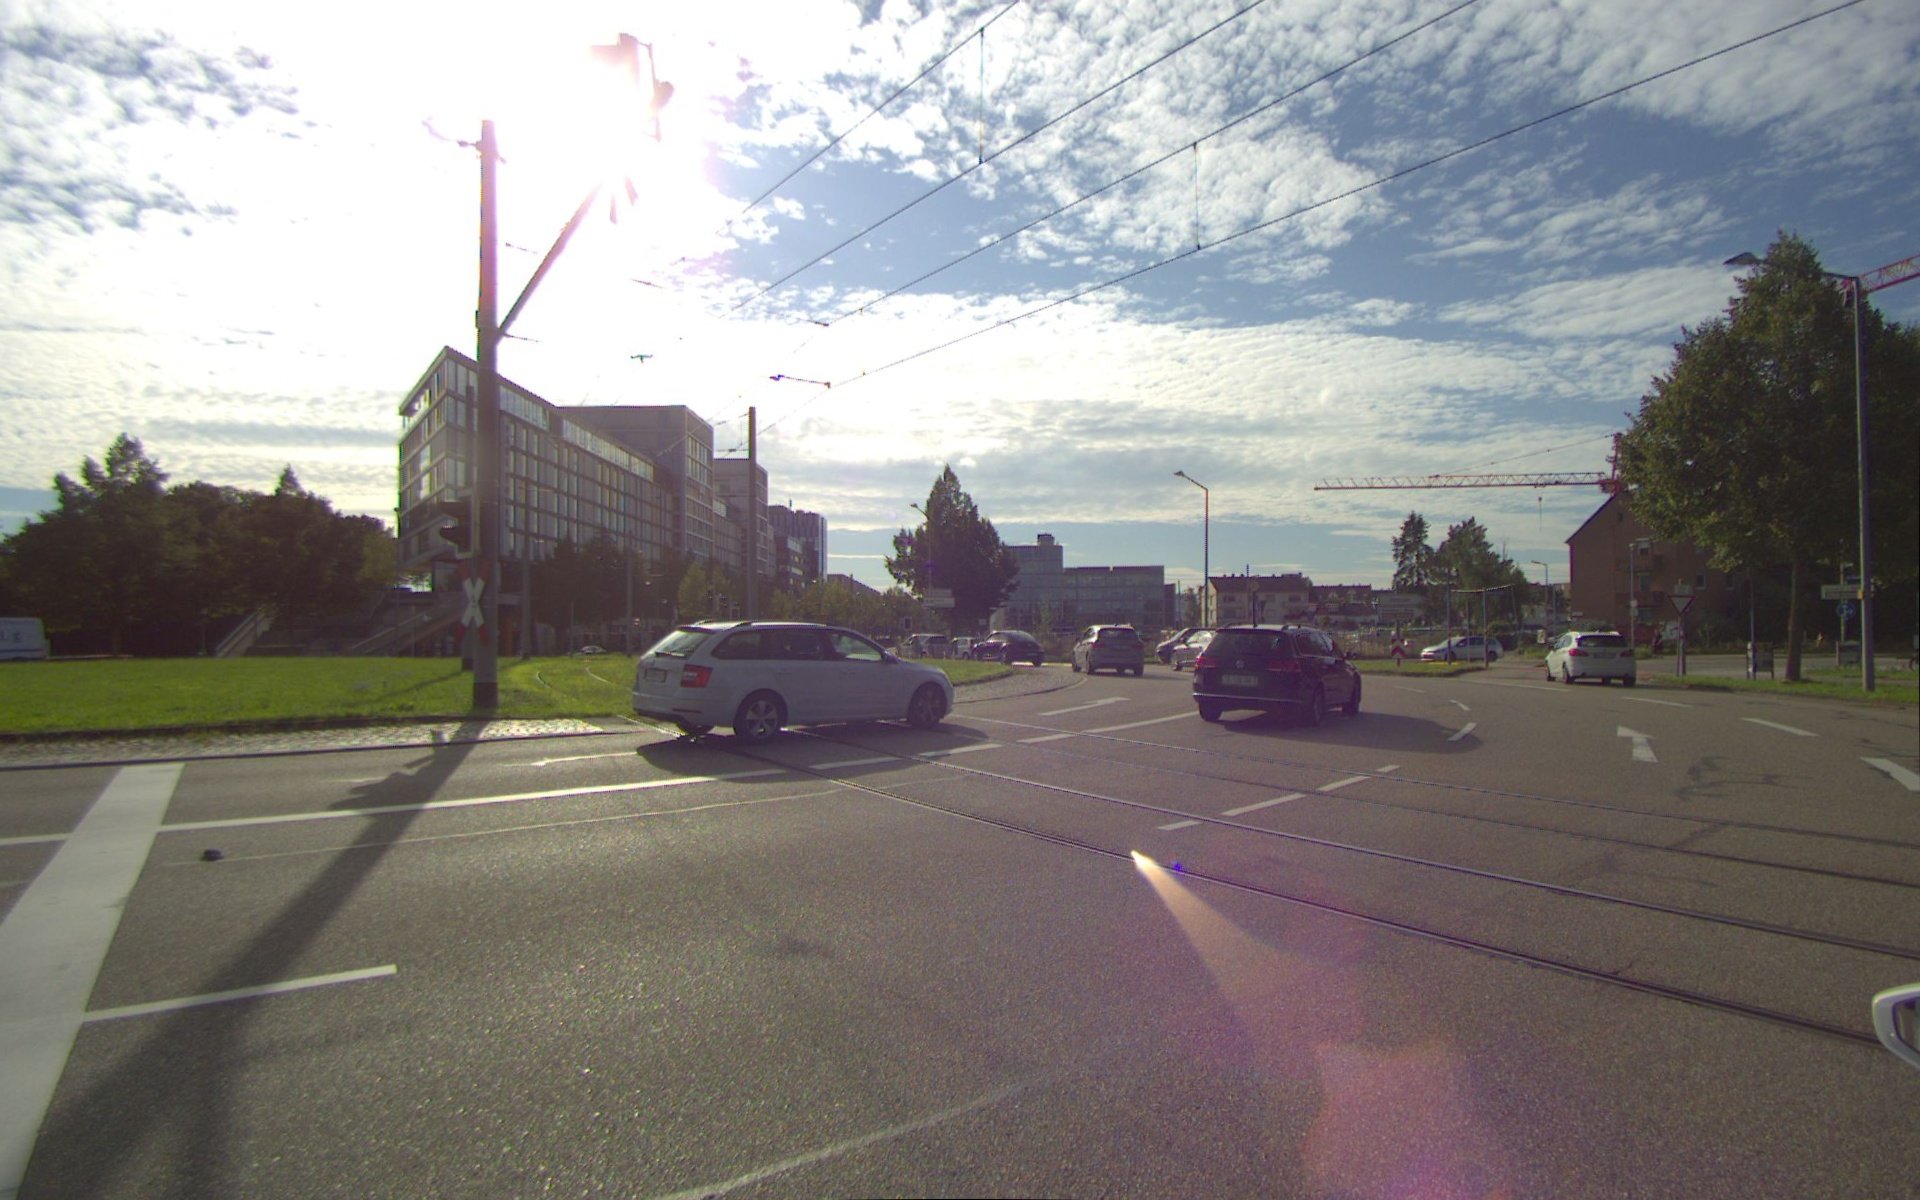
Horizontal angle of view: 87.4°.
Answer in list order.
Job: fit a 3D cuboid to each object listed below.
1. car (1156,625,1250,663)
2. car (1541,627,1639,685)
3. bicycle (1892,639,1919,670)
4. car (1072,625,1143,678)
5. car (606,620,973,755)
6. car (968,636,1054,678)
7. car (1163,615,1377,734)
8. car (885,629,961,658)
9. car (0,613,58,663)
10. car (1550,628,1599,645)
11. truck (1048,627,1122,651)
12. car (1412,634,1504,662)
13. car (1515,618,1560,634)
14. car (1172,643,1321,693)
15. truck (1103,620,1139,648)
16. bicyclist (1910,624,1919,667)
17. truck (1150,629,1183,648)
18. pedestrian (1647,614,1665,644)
[{"bbox_3d":[12.903,2.345,53.504,4.568,1.928,1.902,0,-1,1],"label":"car"},{"bbox_3d":[19.271,1.651,30.918,1.821,1.593,4.453,0,-1,22],"label":"car"},{"bbox_3d":[36.410,2.045,37.589,0.760,1.152,2.141,0,-1,-19],"label":"bicycle"},{"bbox_3d":[4.751,1.615,32.792,1.738,1.593,4.068,0,-1,0],"label":"car"},{"bbox_3d":[-2.112,1.012,13.389,4.604,1.464,1.833,1,-1,-43],"label":"car"},{"bbox_3d":[2.106,2.393,42.826,1.974,1.561,3.973,2,0,-26],"label":"car"},{"bbox_3d":[5.118,1.077,16.072,1.967,1.587,4.830,0,-2,34],"label":"car"},{"bbox_3d":[-2.099,2.367,55.518,1.843,1.497,4.400,1,-1,-42],"label":"car"},{"bbox_3d":[-46.062,1.808,46.593,2.027,2.293,6.019,-3,-3,25],"label":"car"},{"bbox_3d":[60.193,3.624,98.426,3.937,1.639,1.766,-2,-3,38],"label":"car"},{"bbox_3d":[13.656,4.255,109.977,7.706,2.601,3.075,0,-2,-1],"label":"truck"},{"bbox_3d":[27.345,2.623,55.133,4.467,1.471,1.818,0,-2,-16],"label":"car"},{"bbox_3d":[60.493,2.744,105.261,3.926,1.639,1.771,-1,-2,27],"label":"car"},{"bbox_3d":[9.647,2.248,34.091,1.887,1.450,4.606,1,-1,-40],"label":"car"},{"bbox_3d":[19.595,4.135,122.561,2.763,3.249,7.313,0,-2,-4],"label":"truck"},{"bbox_3d":[36.406,1.710,37.601,0.760,1.595,0.956,0,-1,-19],"label":"bicyclist"},{"bbox_3d":[25.255,4.710,123.223,2.290,2.358,6.450,0,-2,-4],"label":"truck"},{"bbox_3d":[43.706,1.812,63.033,0.827,1.895,0.663,1,-2,-36],"label":"pedestrian"}]
